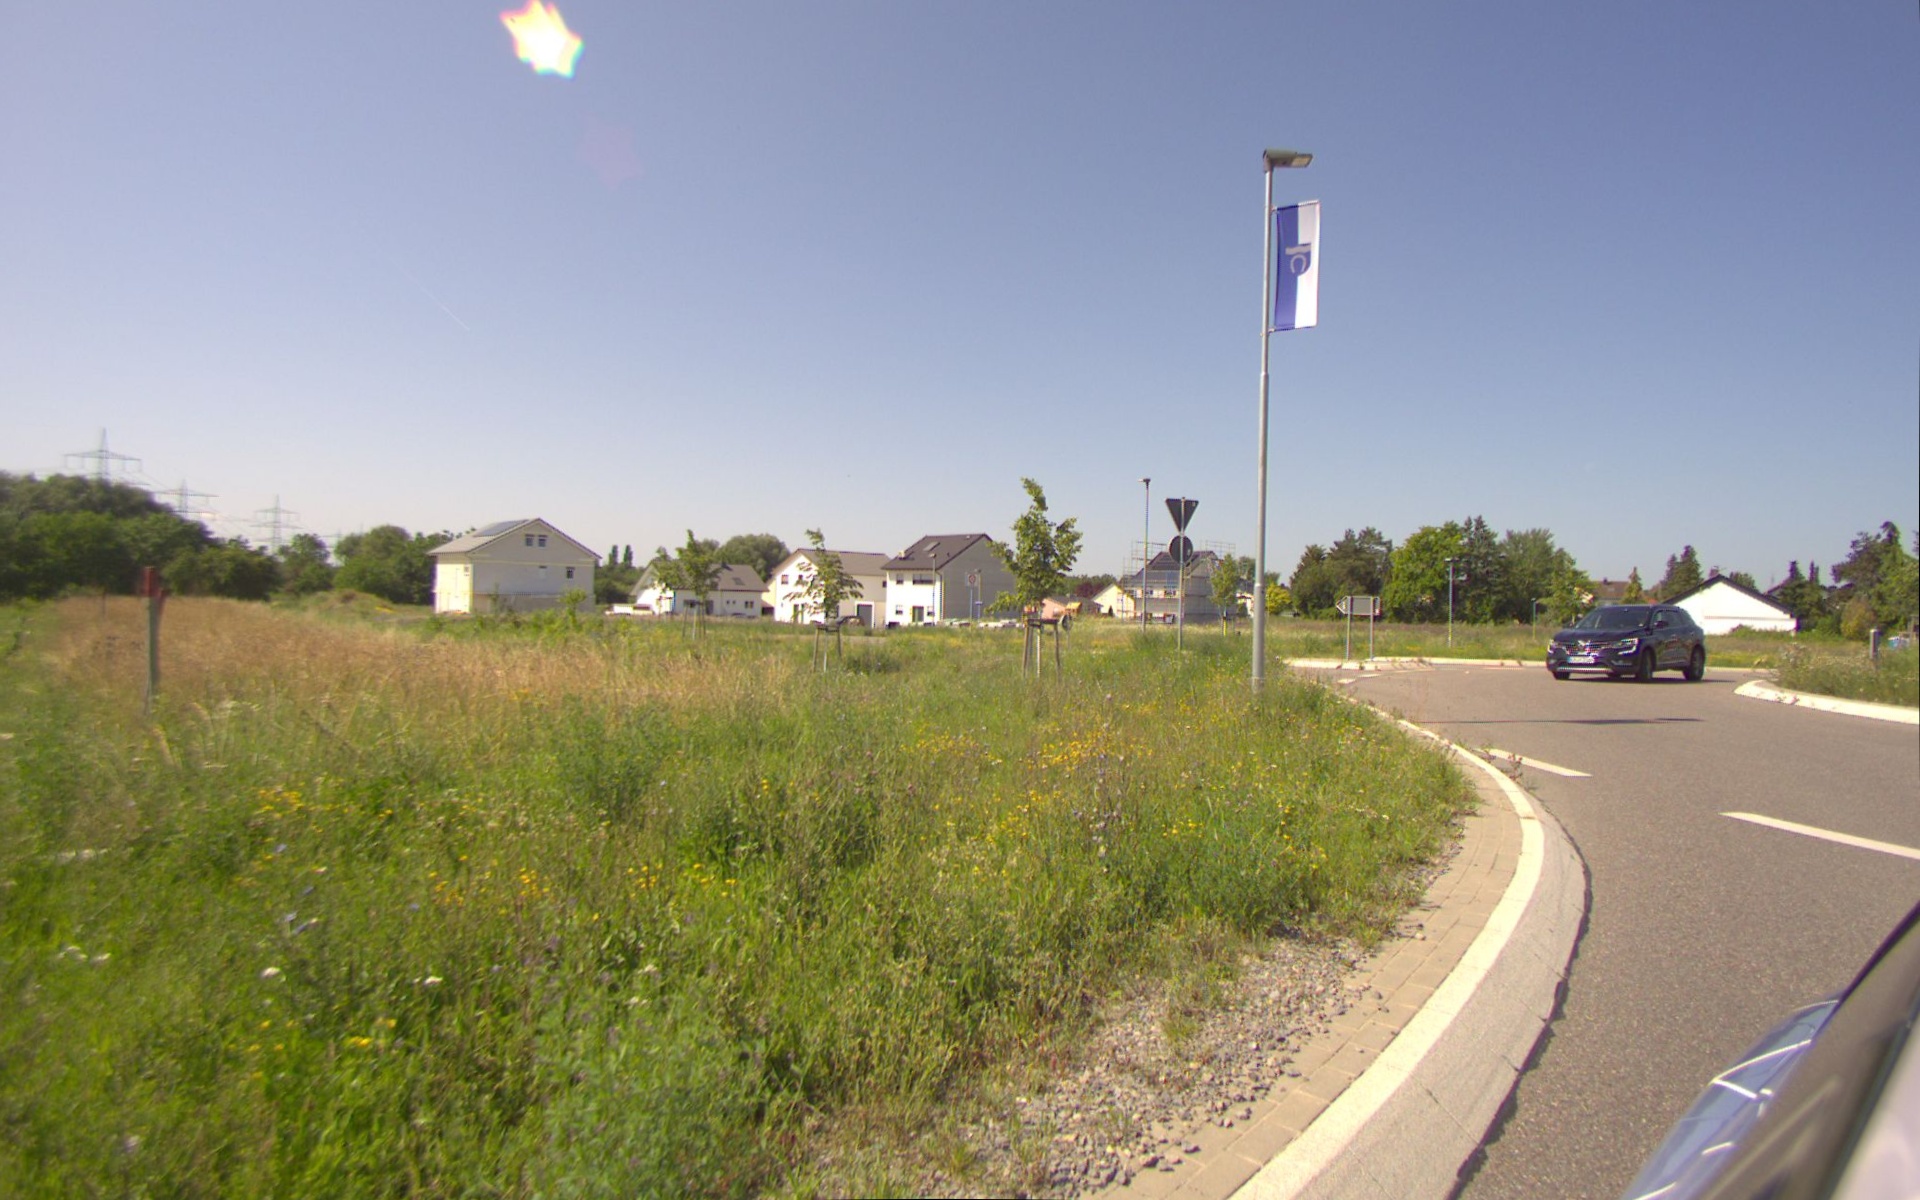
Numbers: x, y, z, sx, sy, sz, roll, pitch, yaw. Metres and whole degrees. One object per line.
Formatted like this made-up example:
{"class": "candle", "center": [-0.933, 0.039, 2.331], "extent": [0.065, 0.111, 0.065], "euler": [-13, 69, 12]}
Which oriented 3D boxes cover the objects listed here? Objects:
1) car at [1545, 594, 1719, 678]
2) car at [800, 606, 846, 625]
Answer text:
{"class": "car", "center": [14.608, 0.763, 21.948], "extent": [4.060, 1.663, 1.781], "euler": [1, -2, -35]}
{"class": "car", "center": [-12.981, 1.483, 96.141], "extent": [3.931, 1.817, 1.996], "euler": [1, -1, -42]}
